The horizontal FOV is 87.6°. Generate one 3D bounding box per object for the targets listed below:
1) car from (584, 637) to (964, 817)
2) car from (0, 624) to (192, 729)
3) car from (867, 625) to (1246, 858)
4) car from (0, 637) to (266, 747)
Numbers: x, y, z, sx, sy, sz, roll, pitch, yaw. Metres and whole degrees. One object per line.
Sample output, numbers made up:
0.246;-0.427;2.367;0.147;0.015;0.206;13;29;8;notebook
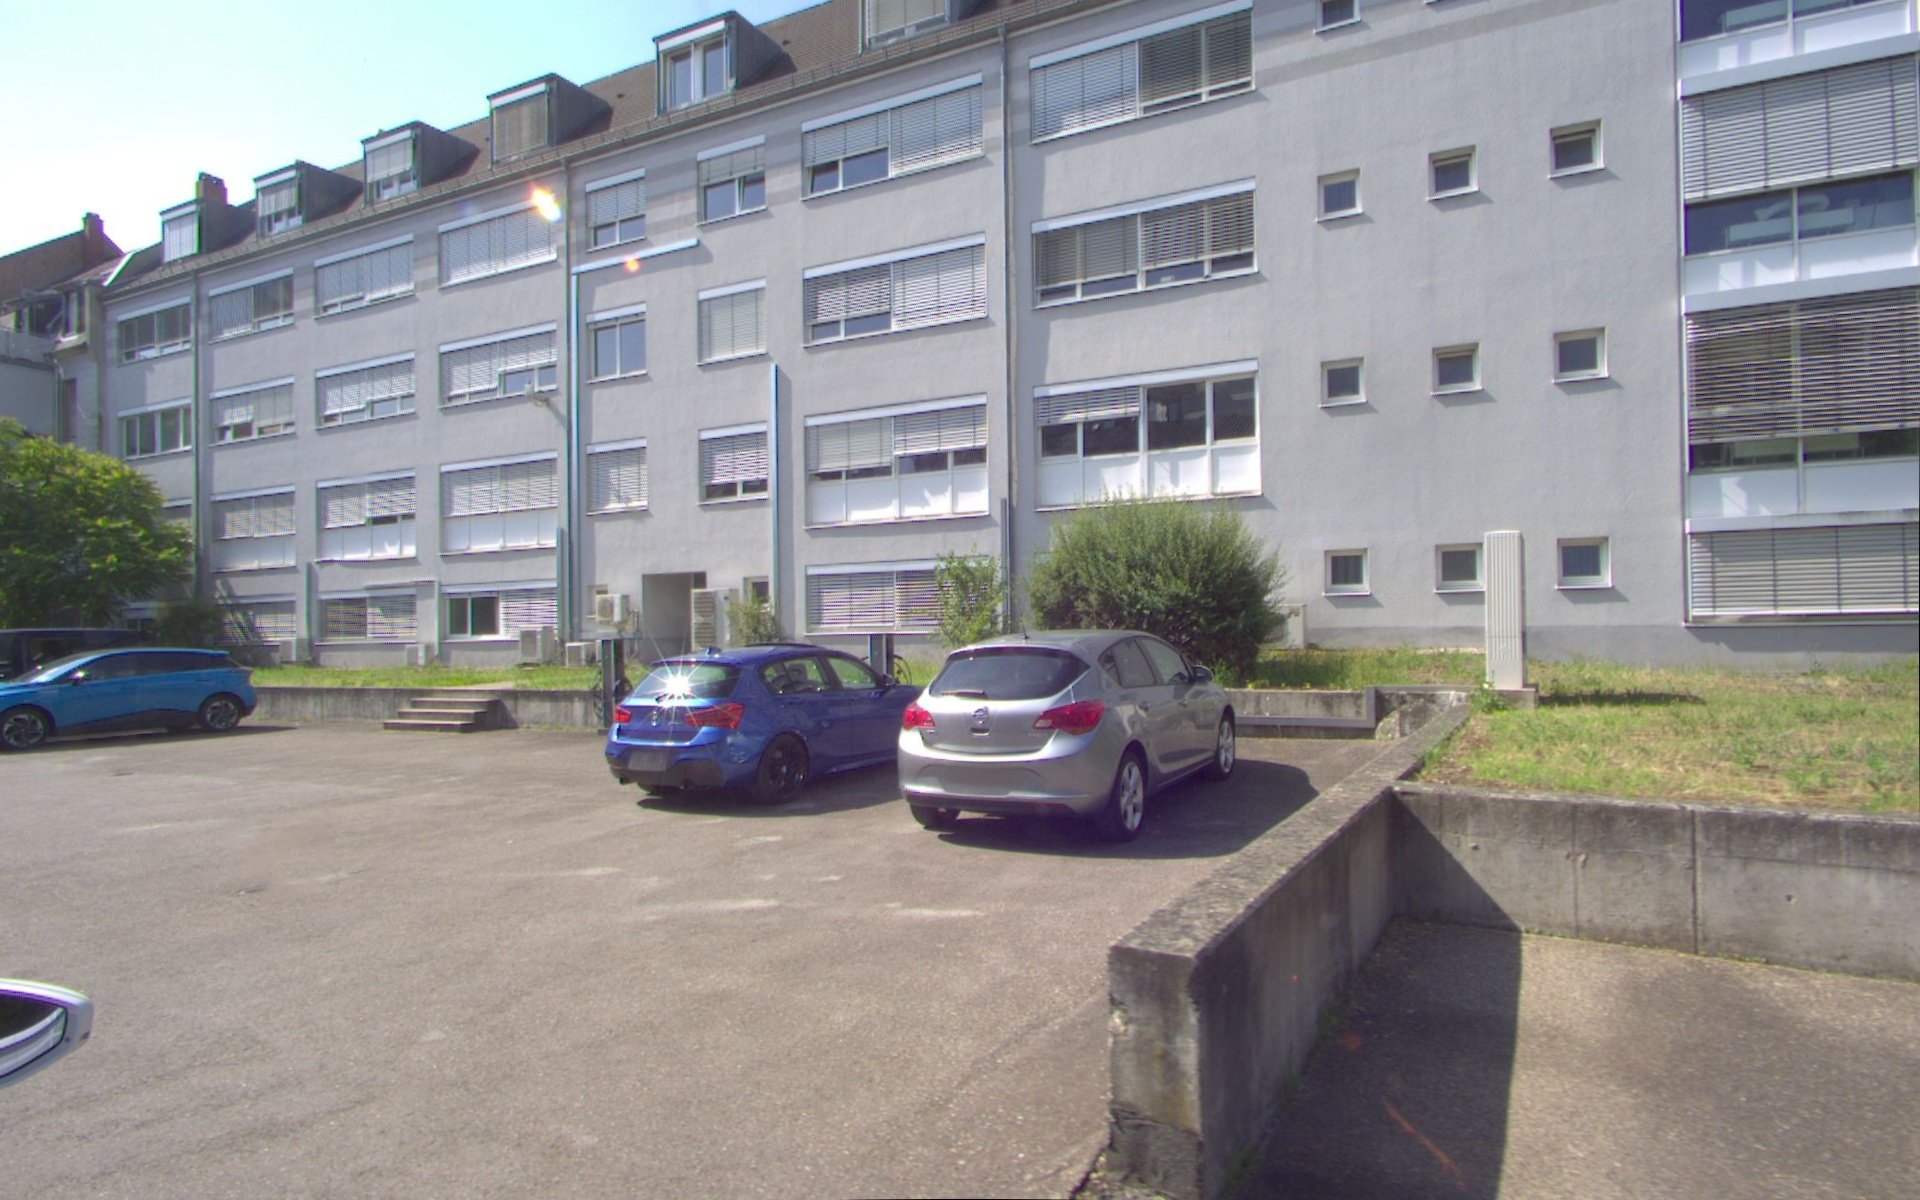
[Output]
-1.697;1.134;10.433;1.664;1.412;3.980;-2;-1;31;car
-17.428;1.372;18.407;2.059;1.791;4.958;0;-1;19;car
1.068;0.963;8.546;1.784;1.445;3.983;-1;-1;29;car
-14.563;1.466;16.944;1.969;1.552;4.225;-1;-1;28;car
